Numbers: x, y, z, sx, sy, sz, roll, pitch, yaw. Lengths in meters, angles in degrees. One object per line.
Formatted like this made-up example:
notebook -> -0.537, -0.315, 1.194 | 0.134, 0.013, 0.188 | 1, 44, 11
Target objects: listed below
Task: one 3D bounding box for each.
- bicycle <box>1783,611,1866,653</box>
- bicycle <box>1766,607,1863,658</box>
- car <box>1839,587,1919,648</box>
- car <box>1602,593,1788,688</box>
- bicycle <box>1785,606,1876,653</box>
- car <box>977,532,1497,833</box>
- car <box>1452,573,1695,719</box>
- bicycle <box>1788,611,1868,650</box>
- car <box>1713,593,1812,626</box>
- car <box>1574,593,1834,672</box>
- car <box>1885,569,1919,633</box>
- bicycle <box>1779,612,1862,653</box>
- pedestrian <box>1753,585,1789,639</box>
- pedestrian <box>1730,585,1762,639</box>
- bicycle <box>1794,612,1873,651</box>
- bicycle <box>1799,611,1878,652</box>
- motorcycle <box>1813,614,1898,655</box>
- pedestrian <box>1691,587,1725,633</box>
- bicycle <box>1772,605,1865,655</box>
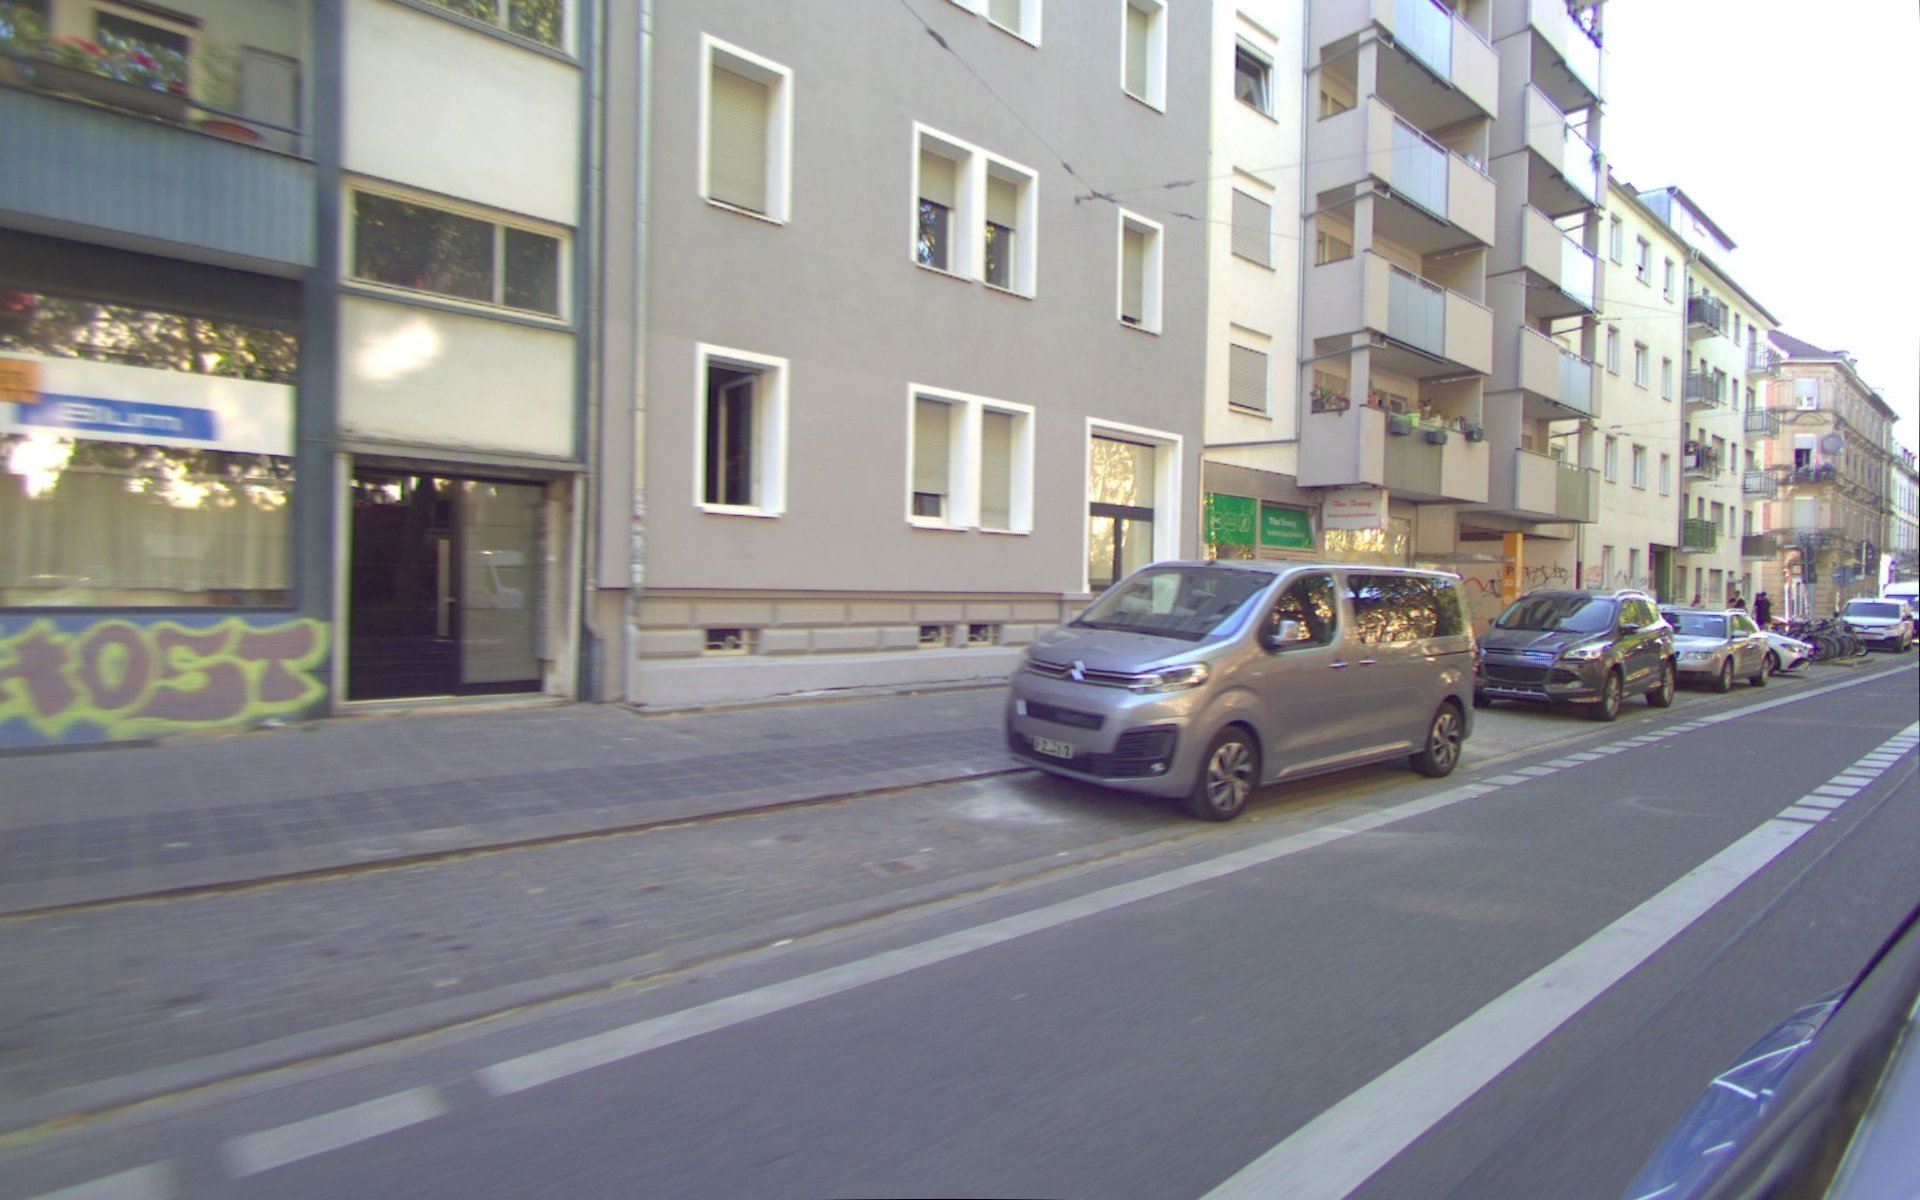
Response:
bicycle -> 23.865, 0.867, 27.951 | 0.449, 1.033, 1.656 | 0, 3, -40
bicycle -> 22.795, 0.845, 27.028 | 0.449, 1.206, 1.896 | 0, 3, -40
car -> 32.216, 0.544, 35.190 | 4.276, 1.841, 1.862 | -1, 5, -42
car -> 13.687, 0.663, 18.752 | 4.432, 1.544, 1.728 | 0, 1, -39
bicycle -> 24.349, 0.817, 28.327 | 0.692, 1.162, 1.798 | 0, 3, -40
car -> 2.590, 0.502, 8.700 | 4.836, 1.913, 1.863 | 0, 1, -39
car -> 8.781, 0.542, 14.341 | 4.209, 1.726, 1.770 | 0, 2, -42
bicycle -> 24.787, 0.855, 28.919 | 0.449, 0.999, 1.656 | 0, 3, -40
car -> 41.112, 0.476, 51.898 | 1.758, 1.594, 3.658 | -1, 0, -38
car -> 16.840, 0.658, 23.121 | 4.606, 1.455, 1.838 | 3, 2, 39
car -> 40.054, 0.032, 41.760 | 5.983, 2.526, 2.152 | 0, 1, -42
bicycle -> 23.496, 0.870, 27.660 | 0.449, 0.978, 1.656 | 0, 3, -40
pedestrian -> 28.235, 0.405, 35.223 | 1.062, 1.845, 0.711 | 0, 2, -39
pedestrian -> 27.840, 0.413, 35.838 | 1.062, 1.845, 0.626 | 0, 2, -39
bicycle -> 25.288, 0.890, 29.329 | 0.449, 0.999, 1.656 | 0, 3, -40
bicycle -> 25.707, 0.913, 29.644 | 0.449, 1.068, 1.656 | 0, 3, -40
motorcycle -> 26.505, 1.008, 29.991 | 0.604, 1.093, 1.829 | 1, 2, -17
pedestrian -> 27.154, 0.353, 36.724 | 0.916, 1.598, 0.634 | 0, 6, -39
bicycle -> 23.158, 0.789, 27.333 | 0.449, 1.206, 1.827 | 0, 3, -40
